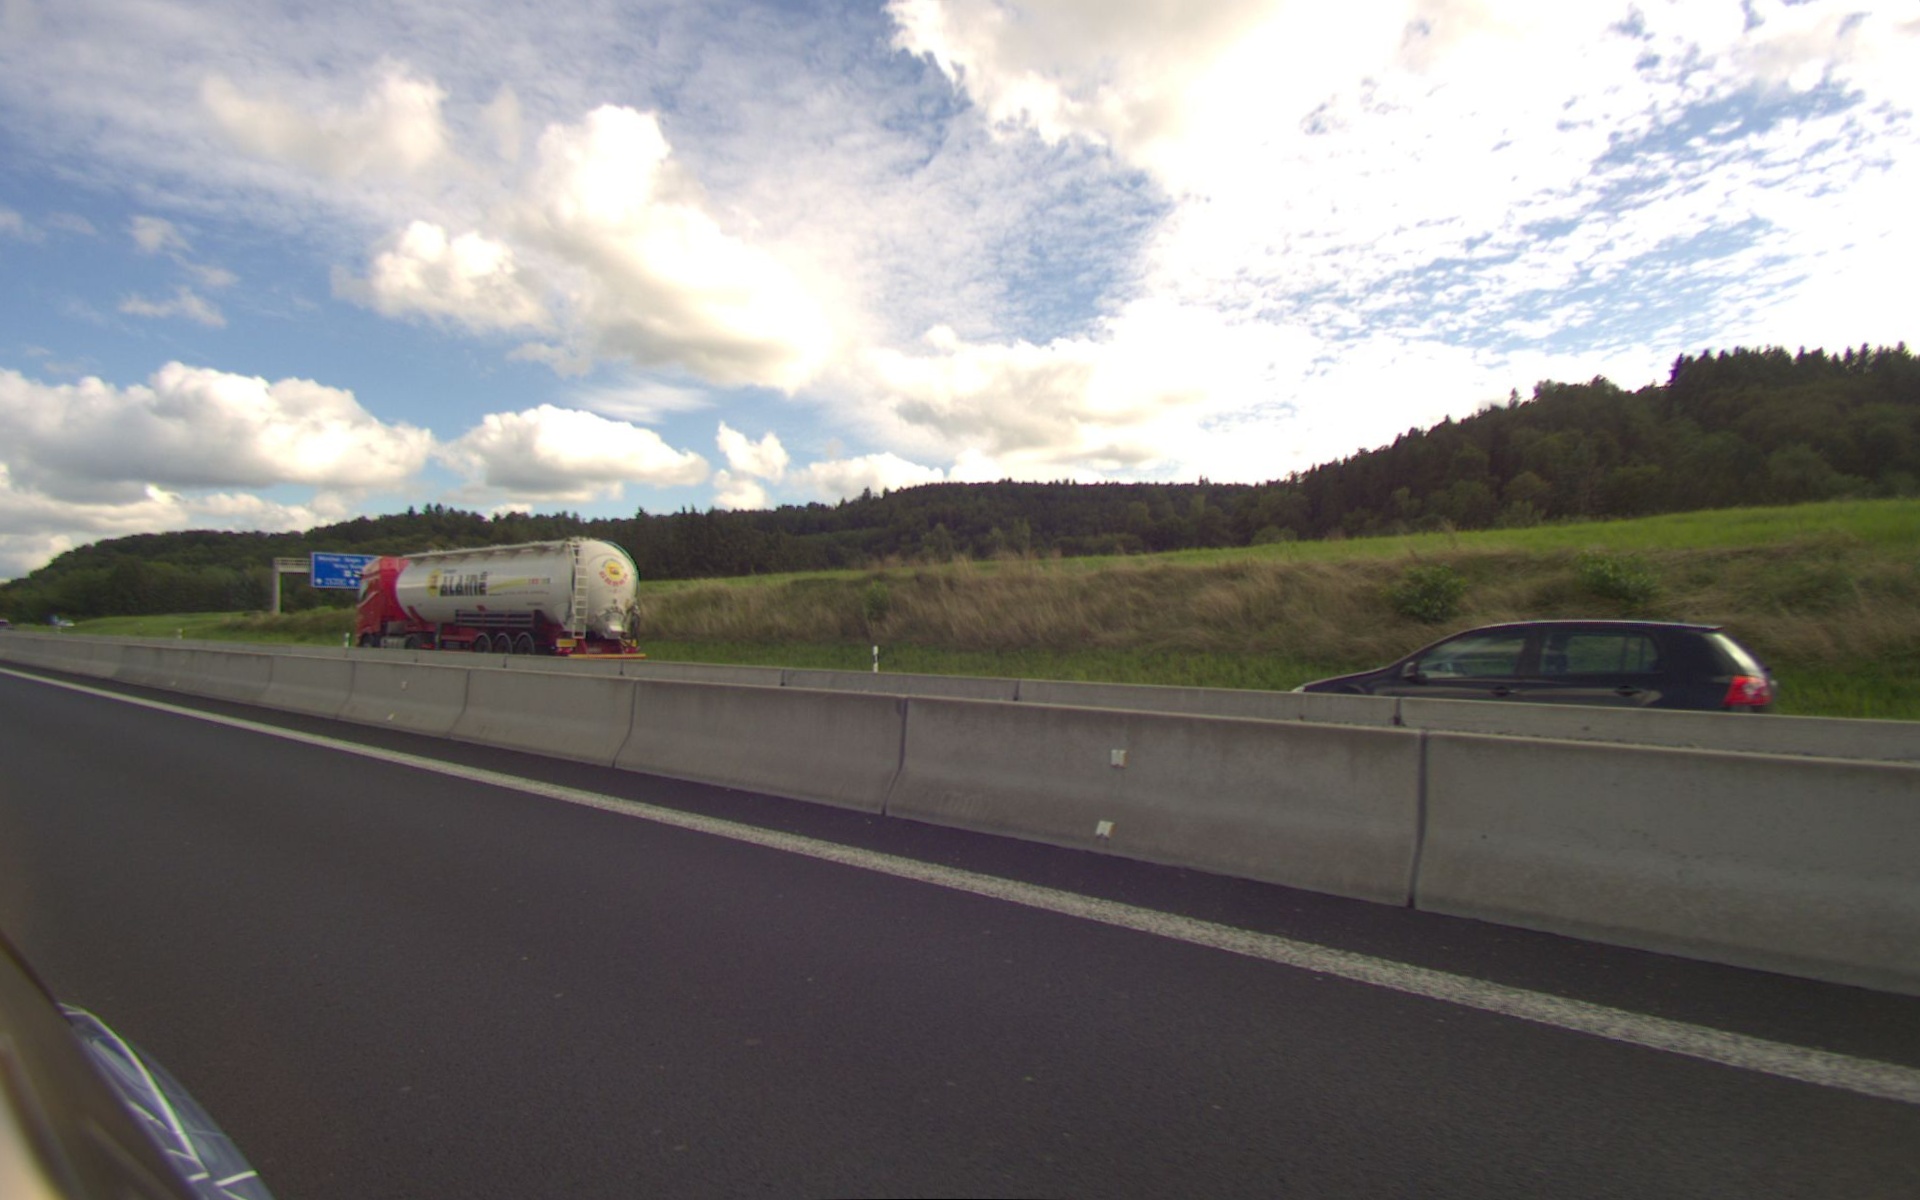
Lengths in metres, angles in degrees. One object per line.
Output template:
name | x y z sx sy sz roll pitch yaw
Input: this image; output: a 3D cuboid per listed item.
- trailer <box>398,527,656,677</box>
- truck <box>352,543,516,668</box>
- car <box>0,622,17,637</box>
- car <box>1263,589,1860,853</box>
trailer | -13.647 0.153 31.145 11.155 3.916 2.685 -1 -3 41
truck | -18.540 0.262 35.458 6.898 3.954 2.709 -1 -3 41
car | -97.300 3.000 102.637 4.689 1.490 1.973 -1 -3 41
car | 5.230 0.907 9.236 4.394 1.846 1.788 -1 -3 41
